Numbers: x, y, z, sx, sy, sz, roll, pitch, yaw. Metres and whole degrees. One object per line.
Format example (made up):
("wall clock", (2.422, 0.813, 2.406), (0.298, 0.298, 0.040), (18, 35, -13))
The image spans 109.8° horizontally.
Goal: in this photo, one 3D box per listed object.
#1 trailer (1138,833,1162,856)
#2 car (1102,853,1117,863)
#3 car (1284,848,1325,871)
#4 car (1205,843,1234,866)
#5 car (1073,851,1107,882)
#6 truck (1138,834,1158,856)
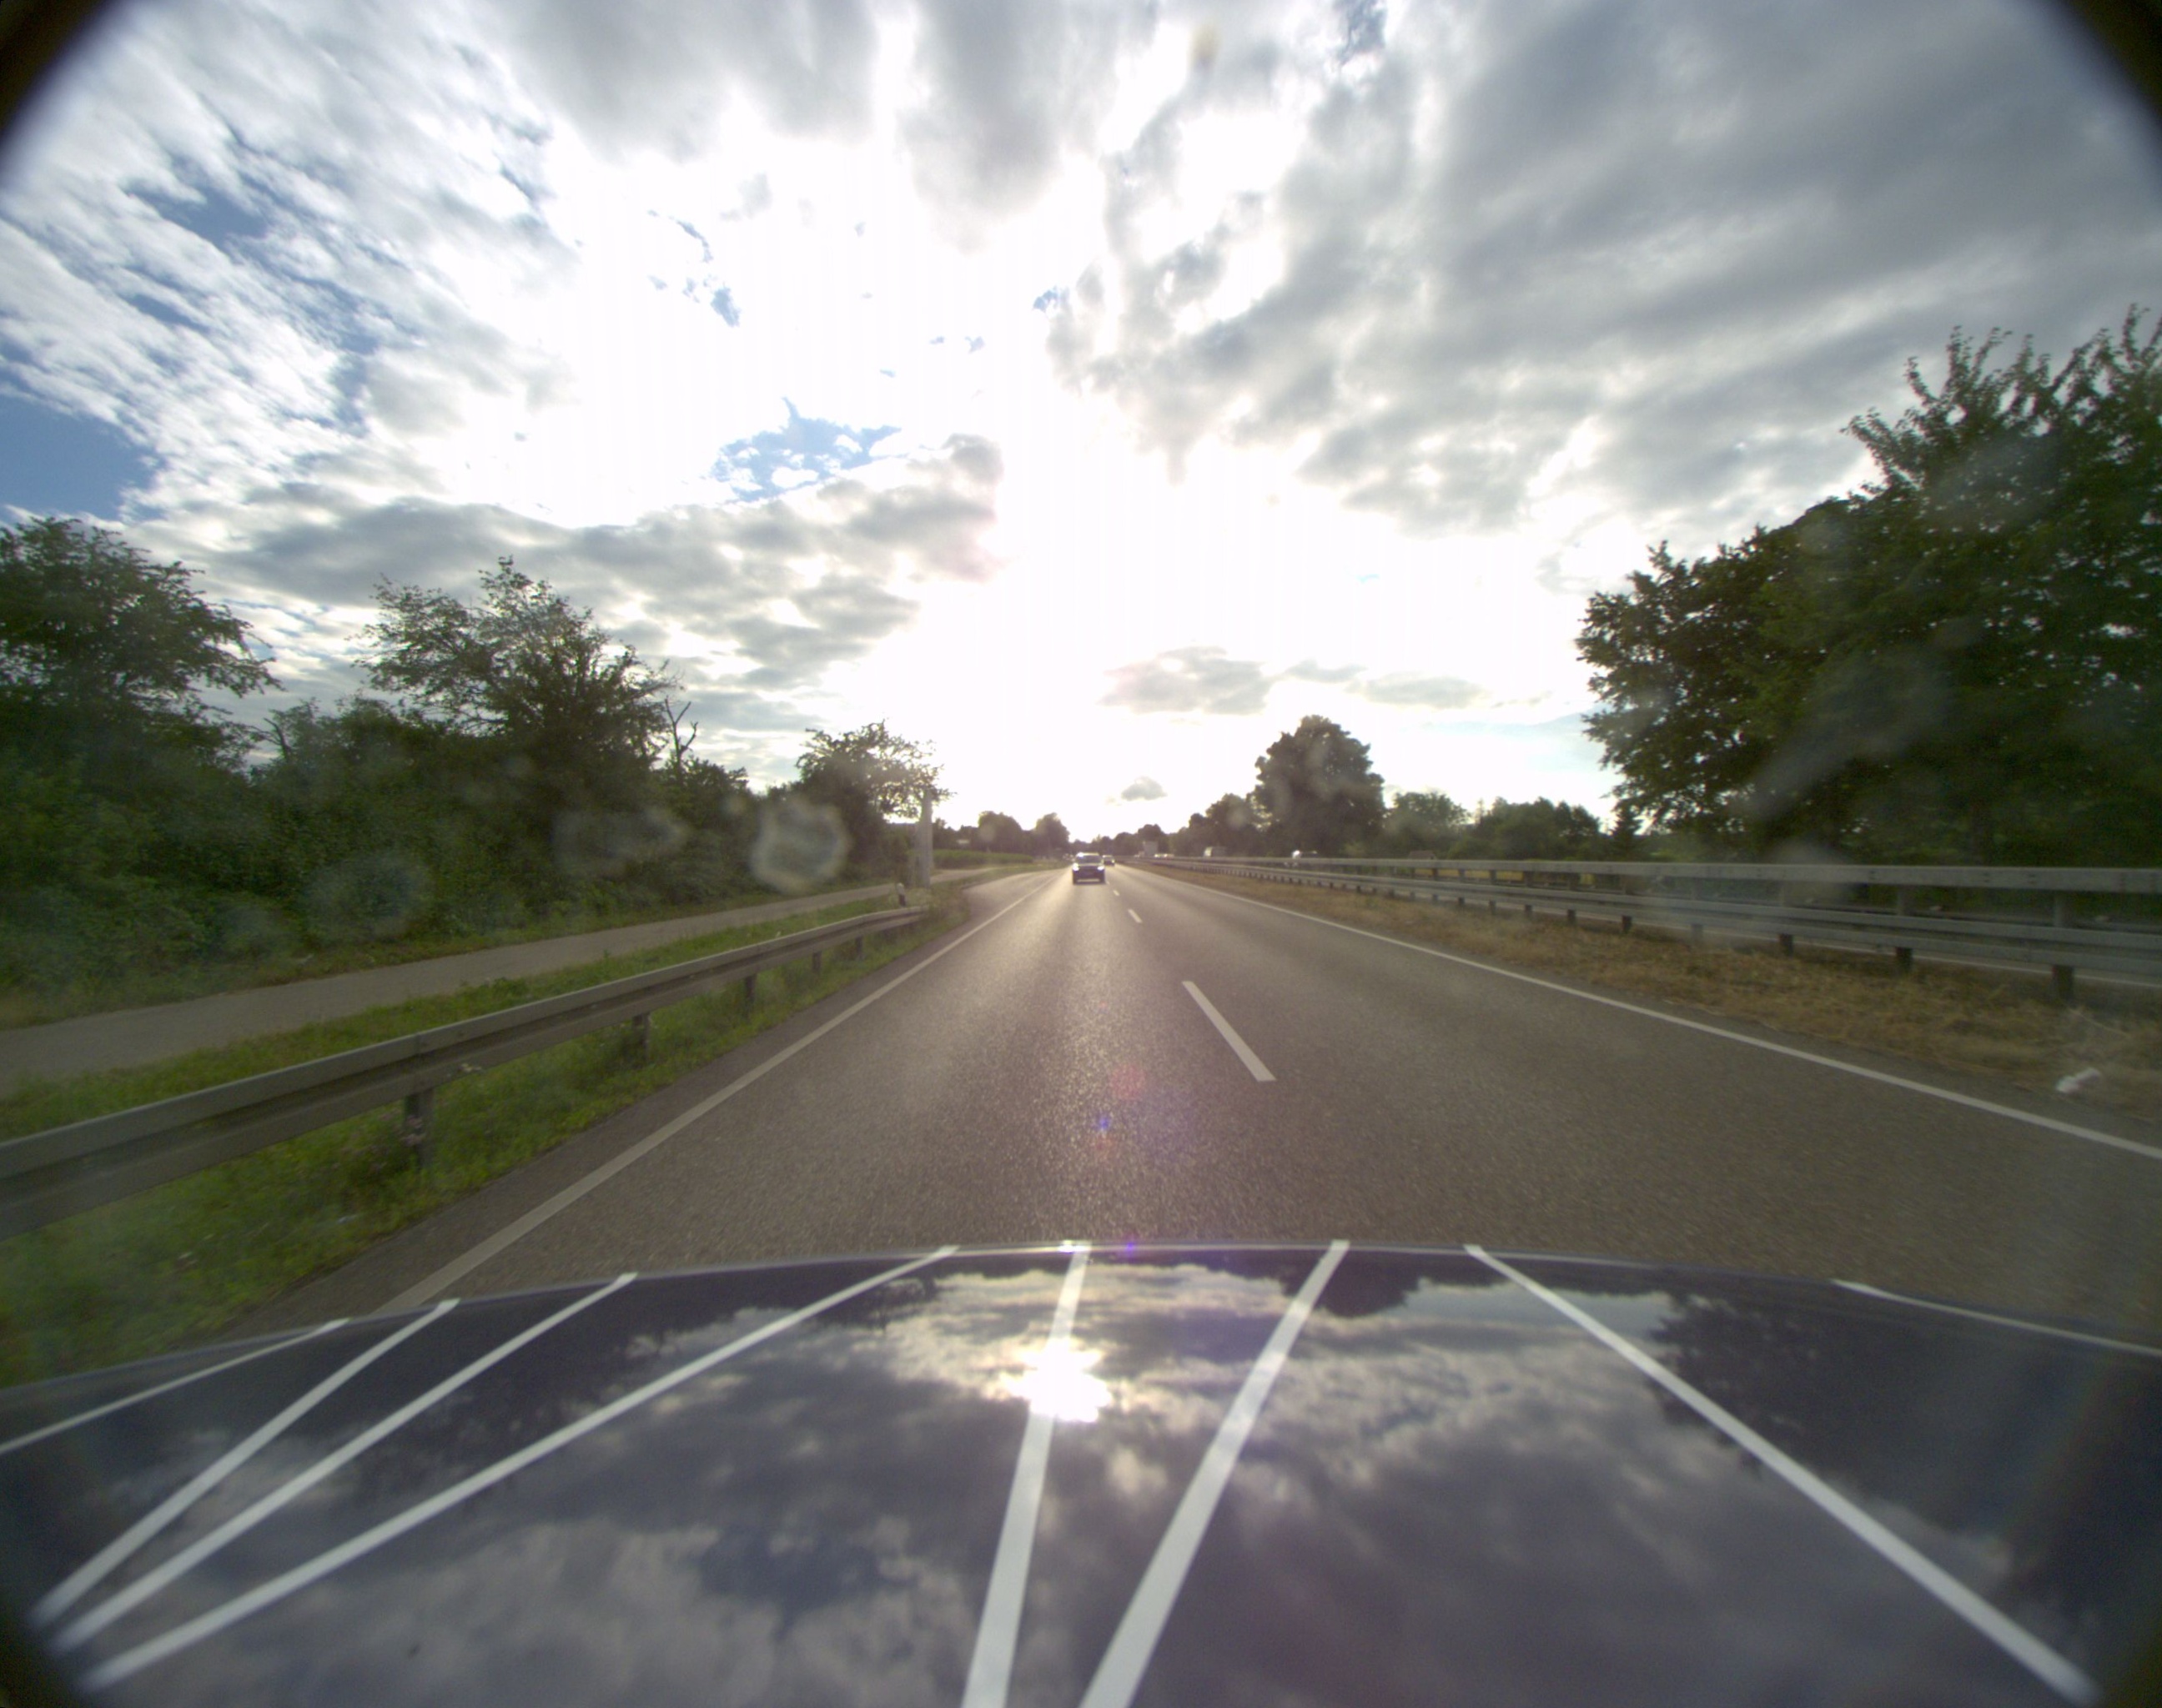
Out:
("trailer", (13.257, -1.763, 146.453), (3.474, 4.126, 13.916), (1, 0, 1))
("car", (3.866, 0.513, 102.010), (1.998, 1.320, 4.000), (0, 0, 2))
("car", (16.163, 0.365, 55.094), (1.802, 1.616, 4.484), (0, 0, 2))
("car", (13.212, 0.064, 72.809), (1.998, 2.128, 5.319), (0, 0, 2))
("car", (0.496, 0.690, 44.451), (1.849, 1.640, 4.481), (-3, 0, 0))
("truck", (13.342, -1.792, 152.396), (3.483, 4.126, 6.049), (1, 0, 1))
